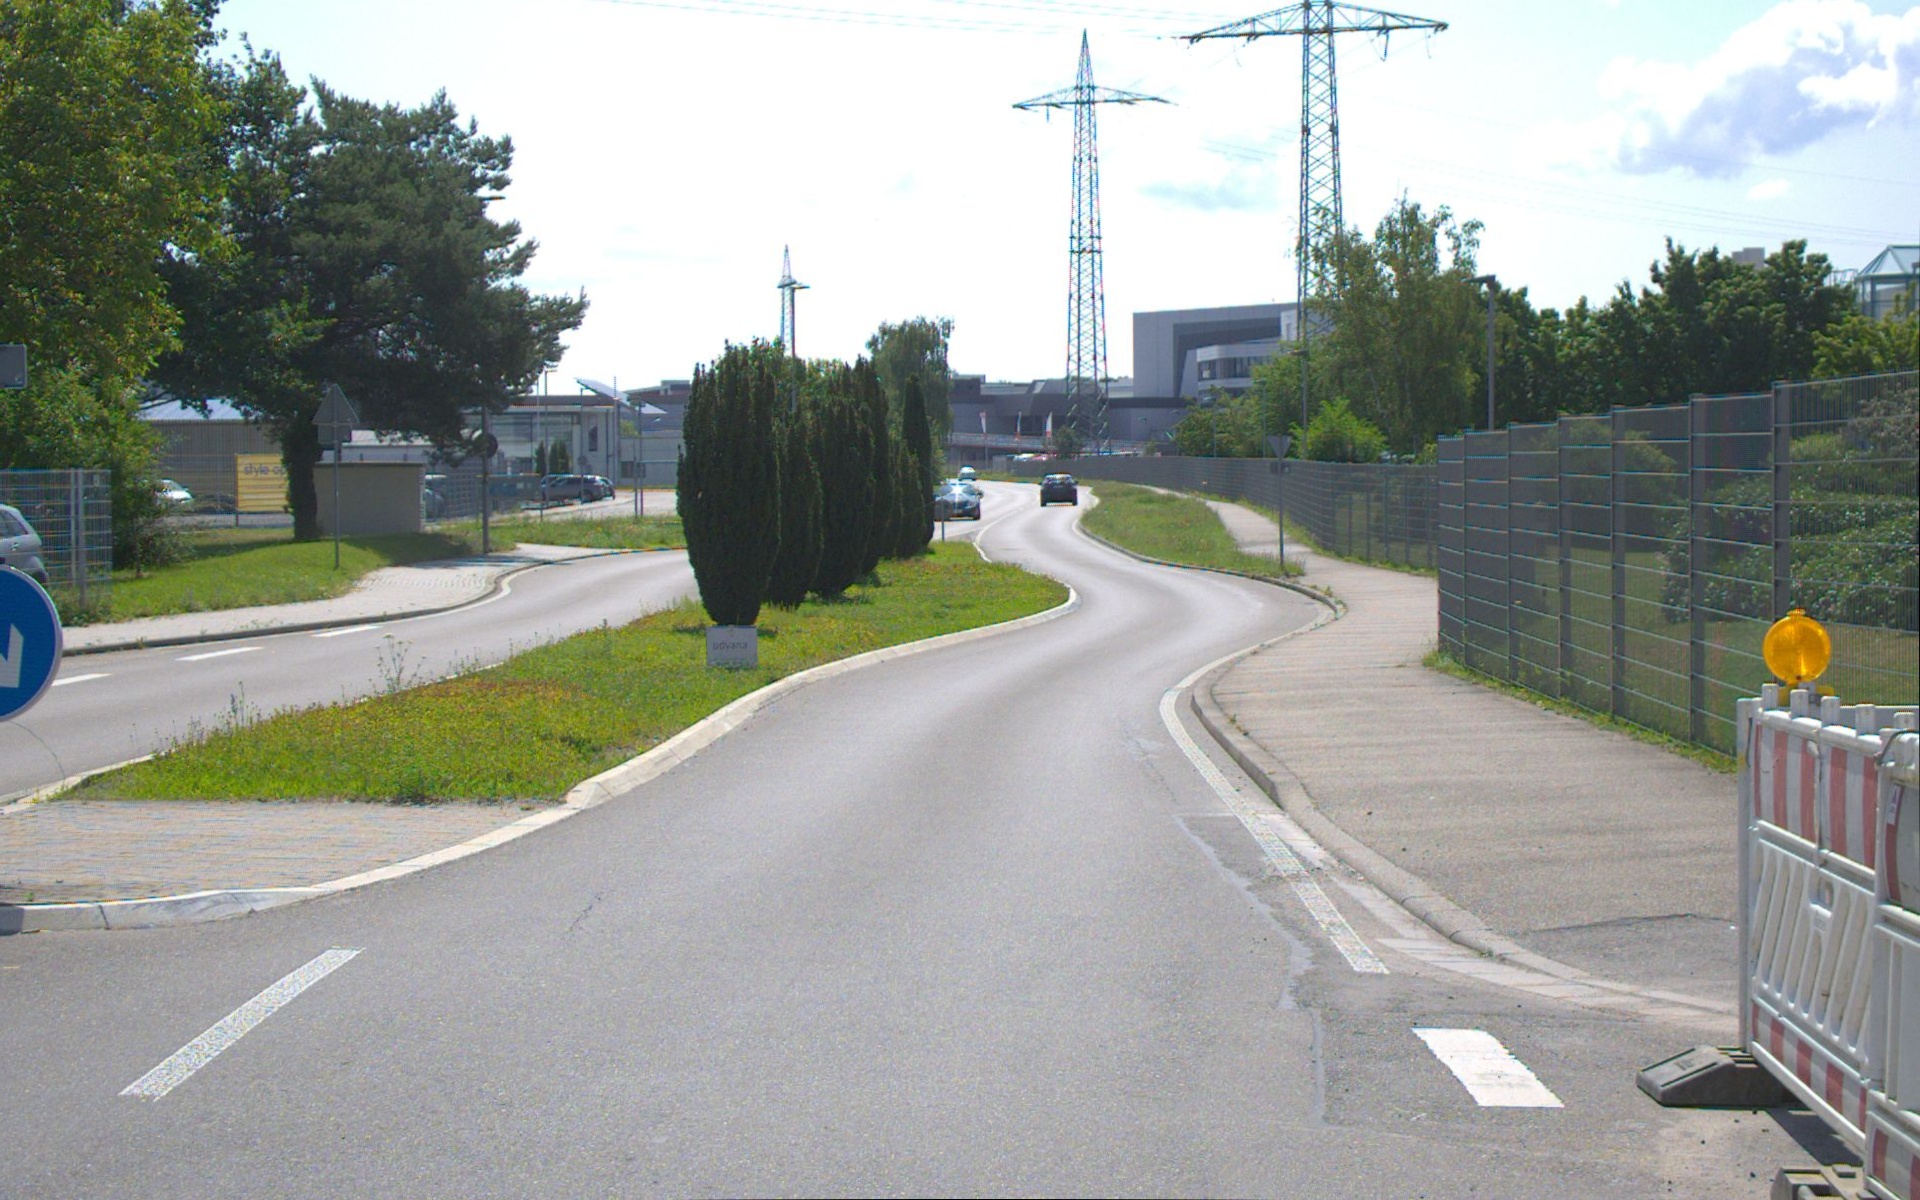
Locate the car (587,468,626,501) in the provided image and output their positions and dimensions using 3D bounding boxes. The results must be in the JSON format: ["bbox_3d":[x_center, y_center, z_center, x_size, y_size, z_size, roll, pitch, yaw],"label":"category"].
[{"bbox_3d":[-21.857,-7.127,212.735,1.993,2.007,4.000,0,1,0],"label":"car"}]

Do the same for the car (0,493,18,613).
[{"bbox_3d":[-13.235,-0.566,42.141,1.829,1.512,3.587,0,1,12],"label":"car"}]

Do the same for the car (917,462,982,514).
[{"bbox_3d":[-0.441,-4.500,137.522,2.490,2.006,4.666,0,3,-1],"label":"car"}]

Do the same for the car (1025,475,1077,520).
[{"bbox_3d":[4.487,-5.080,170.322,2.271,1.940,4.665,3,0,-1],"label":"car"}]
